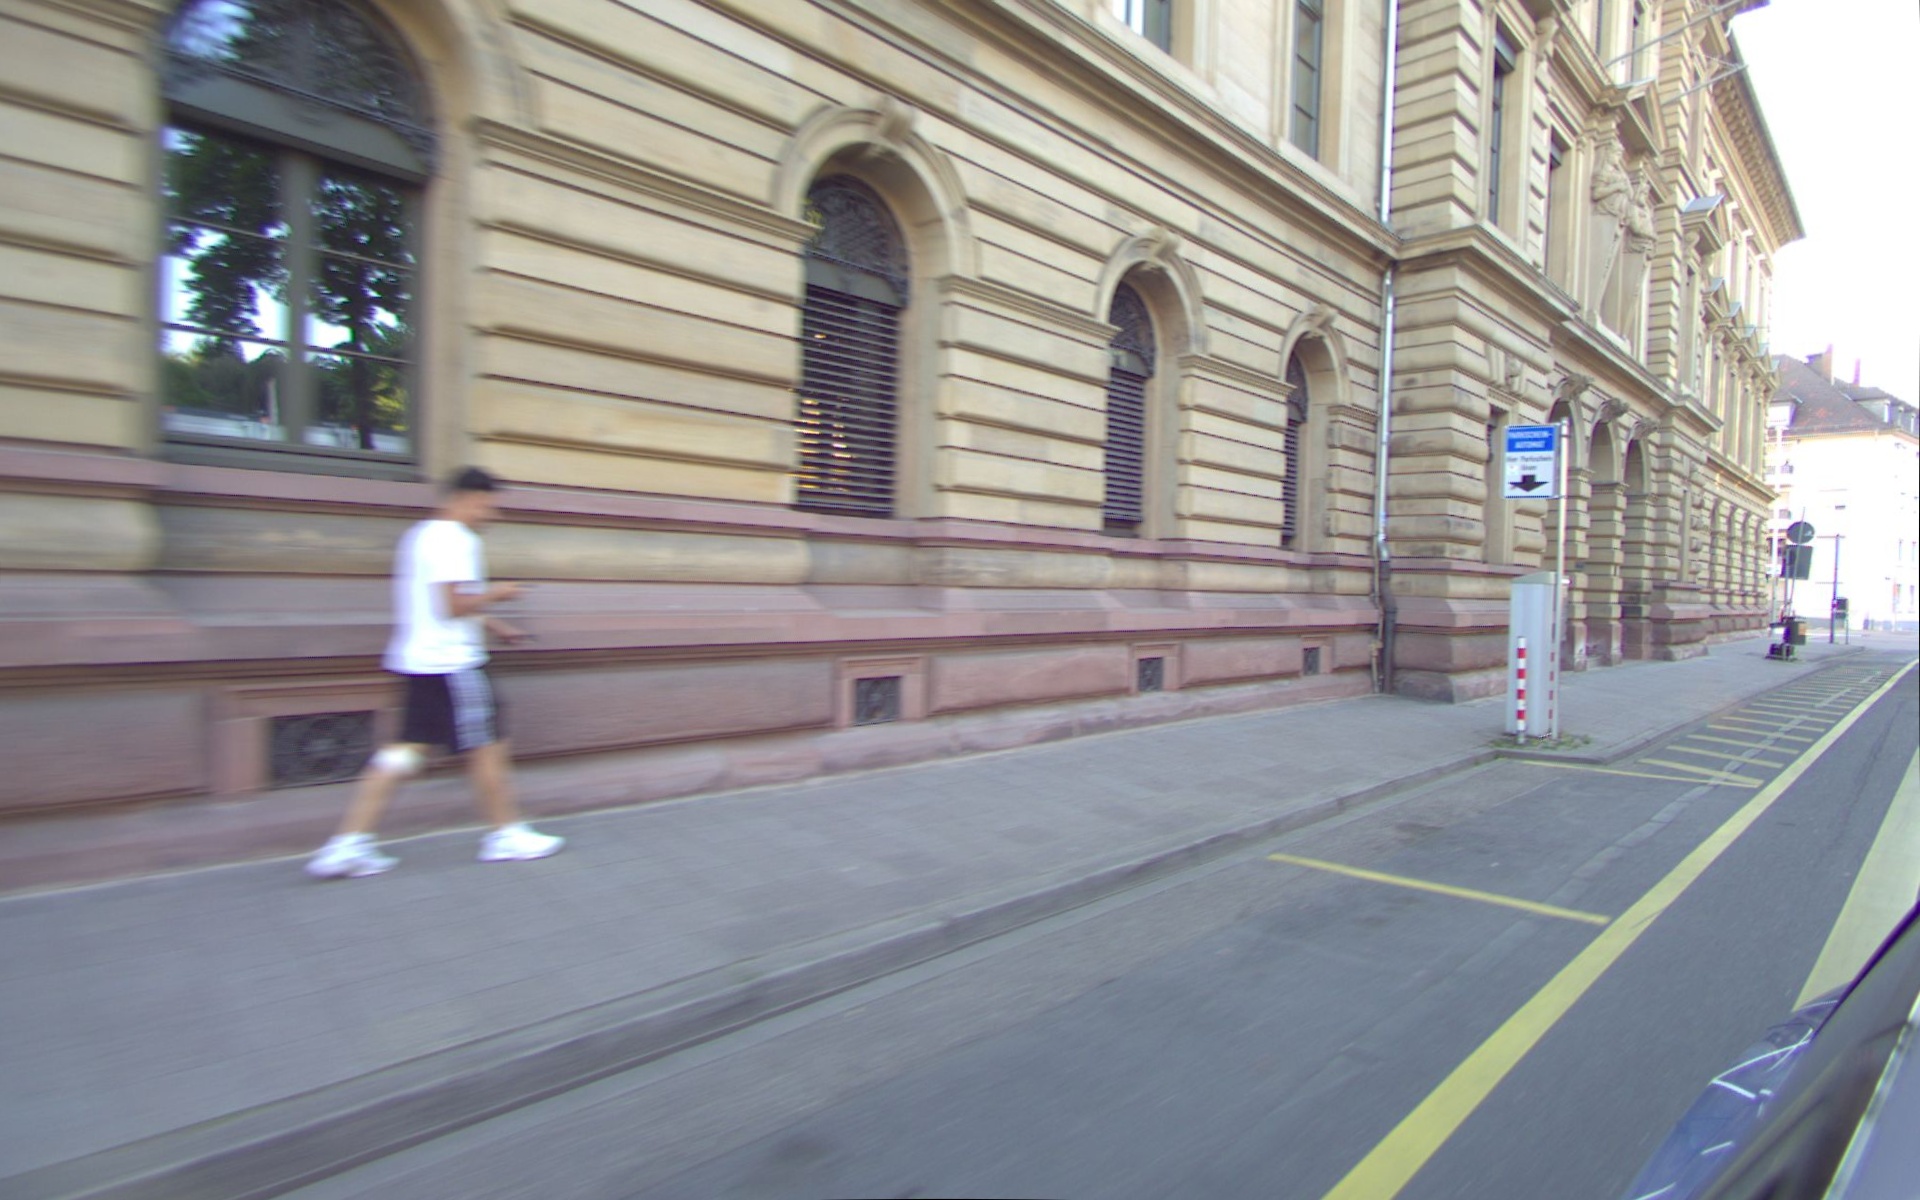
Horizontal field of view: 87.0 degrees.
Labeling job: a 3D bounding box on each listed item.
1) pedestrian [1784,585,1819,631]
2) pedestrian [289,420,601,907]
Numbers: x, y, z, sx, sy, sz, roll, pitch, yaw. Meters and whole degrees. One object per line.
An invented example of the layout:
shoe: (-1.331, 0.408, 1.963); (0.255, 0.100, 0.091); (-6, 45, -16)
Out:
pedestrian: (38.299, 0.349, 46.074); (0.973, 2.039, 0.789); (1, 0, -20)
pedestrian: (-2.213, 0.231, 4.359); (1.019, 1.788, 0.818); (1, -1, -40)
